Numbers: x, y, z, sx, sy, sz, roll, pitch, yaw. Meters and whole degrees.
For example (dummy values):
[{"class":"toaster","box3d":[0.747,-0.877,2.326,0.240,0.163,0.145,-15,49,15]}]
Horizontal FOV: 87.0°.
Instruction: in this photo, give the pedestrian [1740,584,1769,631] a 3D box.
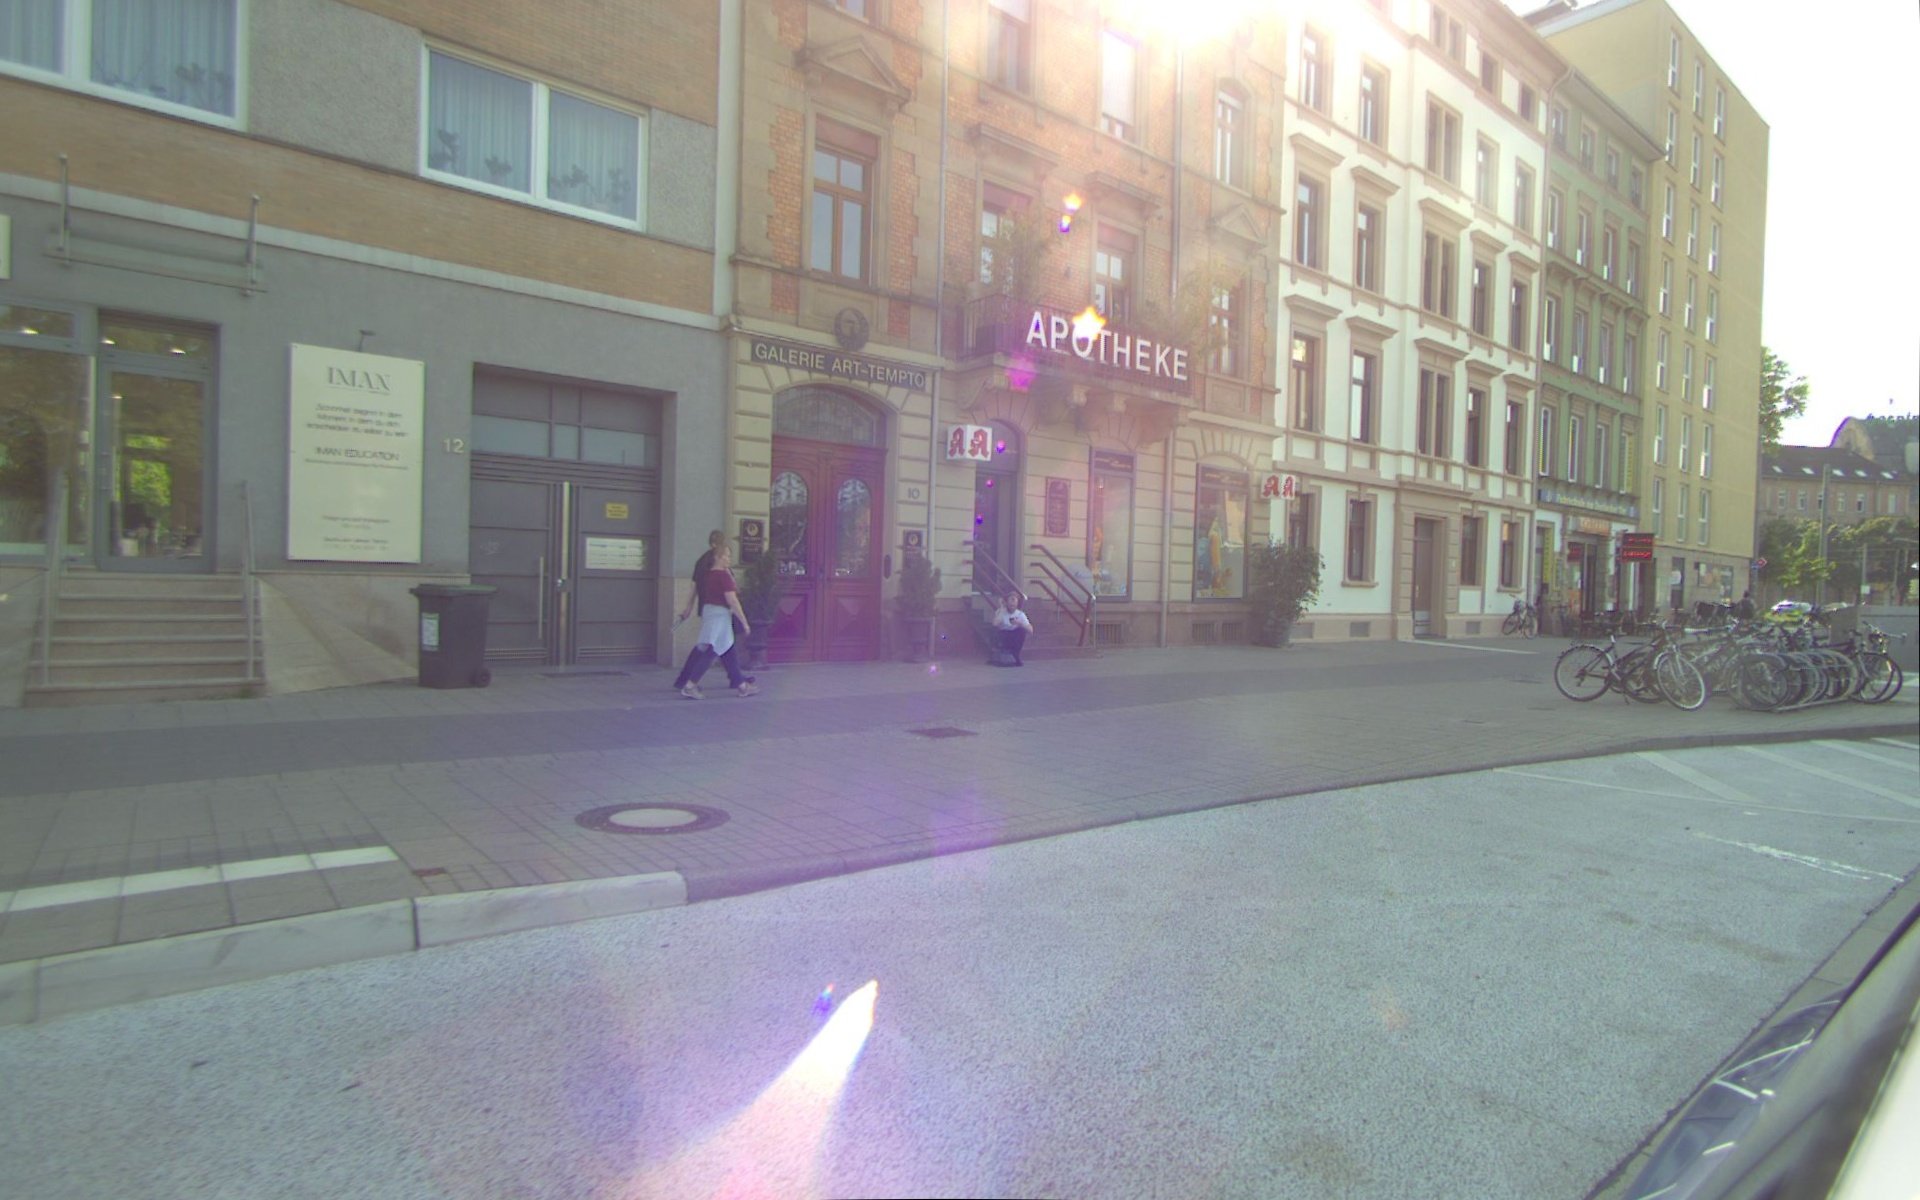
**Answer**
[{"class":"pedestrian","box3d":[28.439,0.272,36.229,0.723,1.649,0.610,0,2,-38]}]

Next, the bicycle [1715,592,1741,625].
[{"class":"bicycle","box3d":[30.691,0.319,40.427,0.602,1.277,1.966,3,2,43]}]

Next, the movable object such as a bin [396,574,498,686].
[{"class":"movable object such as a bin","box3d":[-5.310,0.291,10.481,0.734,1.094,0.661,2,1,35]}]

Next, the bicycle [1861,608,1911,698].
[{"class":"bicycle","box3d":[13.079,0.717,14.279,1.629,1.163,0.407,0,2,-45]}]

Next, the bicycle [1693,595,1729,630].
[{"class":"bicycle","box3d":[28.602,0.450,38.516,1.961,1.277,0.604,0,2,-39]}]

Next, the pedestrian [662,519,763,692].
[{"class":"pedestrian","box3d":[-2.730,0.043,11.137,0.840,1.809,0.722,0,1,-37]}]

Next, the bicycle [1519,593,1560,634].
[{"class":"bicycle","box3d":[16.833,0.389,29.382,1.688,1.148,0.384,0,2,-38]}]

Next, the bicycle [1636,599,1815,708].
[{"class":"bicycle","box3d":[9.108,0.602,12.093,0.379,1.163,1.635,0,2,-42]}]

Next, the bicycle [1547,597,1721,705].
[{"class":"bicycle","box3d":[8.155,0.579,12.309,0.590,1.163,1.638,0,2,-36]}]

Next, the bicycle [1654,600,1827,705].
[{"class":"bicycle","box3d":[9.700,0.618,12.628,0.379,1.163,1.635,0,2,-42]}]

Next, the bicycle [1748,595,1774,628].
[{"class":"bicycle","box3d":[31.527,0.439,39.828,0.602,1.277,1.966,3,2,43]}]

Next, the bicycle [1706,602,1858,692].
[{"class":"bicycle","box3d":[11.826,0.651,14.606,0.379,1.163,1.635,0,2,-42]}]

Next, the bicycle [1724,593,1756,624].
[{"class":"bicycle","box3d":[32.388,0.347,42.009,1.816,1.277,0.604,0,2,-40]}]

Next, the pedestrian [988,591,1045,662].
[{"class":"pedestrian","box3d":[0.819,0.378,14.733,0.623,0.994,0.615,1,2,-19]}]

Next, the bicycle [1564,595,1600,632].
[{"class":"bicycle","box3d":[19.539,0.417,31.795,1.688,1.148,0.384,0,2,-38]}]

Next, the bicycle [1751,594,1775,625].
[{"class":"bicycle","box3d":[34.778,0.398,43.825,1.607,1.277,0.470,0,2,-40]}]

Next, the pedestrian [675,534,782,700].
[{"class":"pedestrian","box3d":[-2.395,0.154,10.464,0.840,1.630,0.722,0,2,-37]}]

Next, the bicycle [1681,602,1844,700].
[{"class":"bicycle","box3d":[10.695,0.650,13.533,0.379,1.163,1.635,0,2,-42]}]

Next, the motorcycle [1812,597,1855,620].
[{"class":"motorcycle","box3d":[45.274,0.443,52.447,2.253,1.161,0.707,1,1,-23]}]

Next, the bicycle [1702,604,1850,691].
[{"class":"bicycle","box3d":[12.075,0.675,15.020,0.379,1.163,1.635,0,2,-42]}]

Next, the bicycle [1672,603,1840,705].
[{"class":"bicycle","box3d":[10.204,0.654,13.027,0.379,1.163,1.635,0,2,-42]}]

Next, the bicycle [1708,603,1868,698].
[{"class":"bicycle","box3d":[11.310,0.656,13.874,0.379,1.163,1.635,0,2,-42]}]
